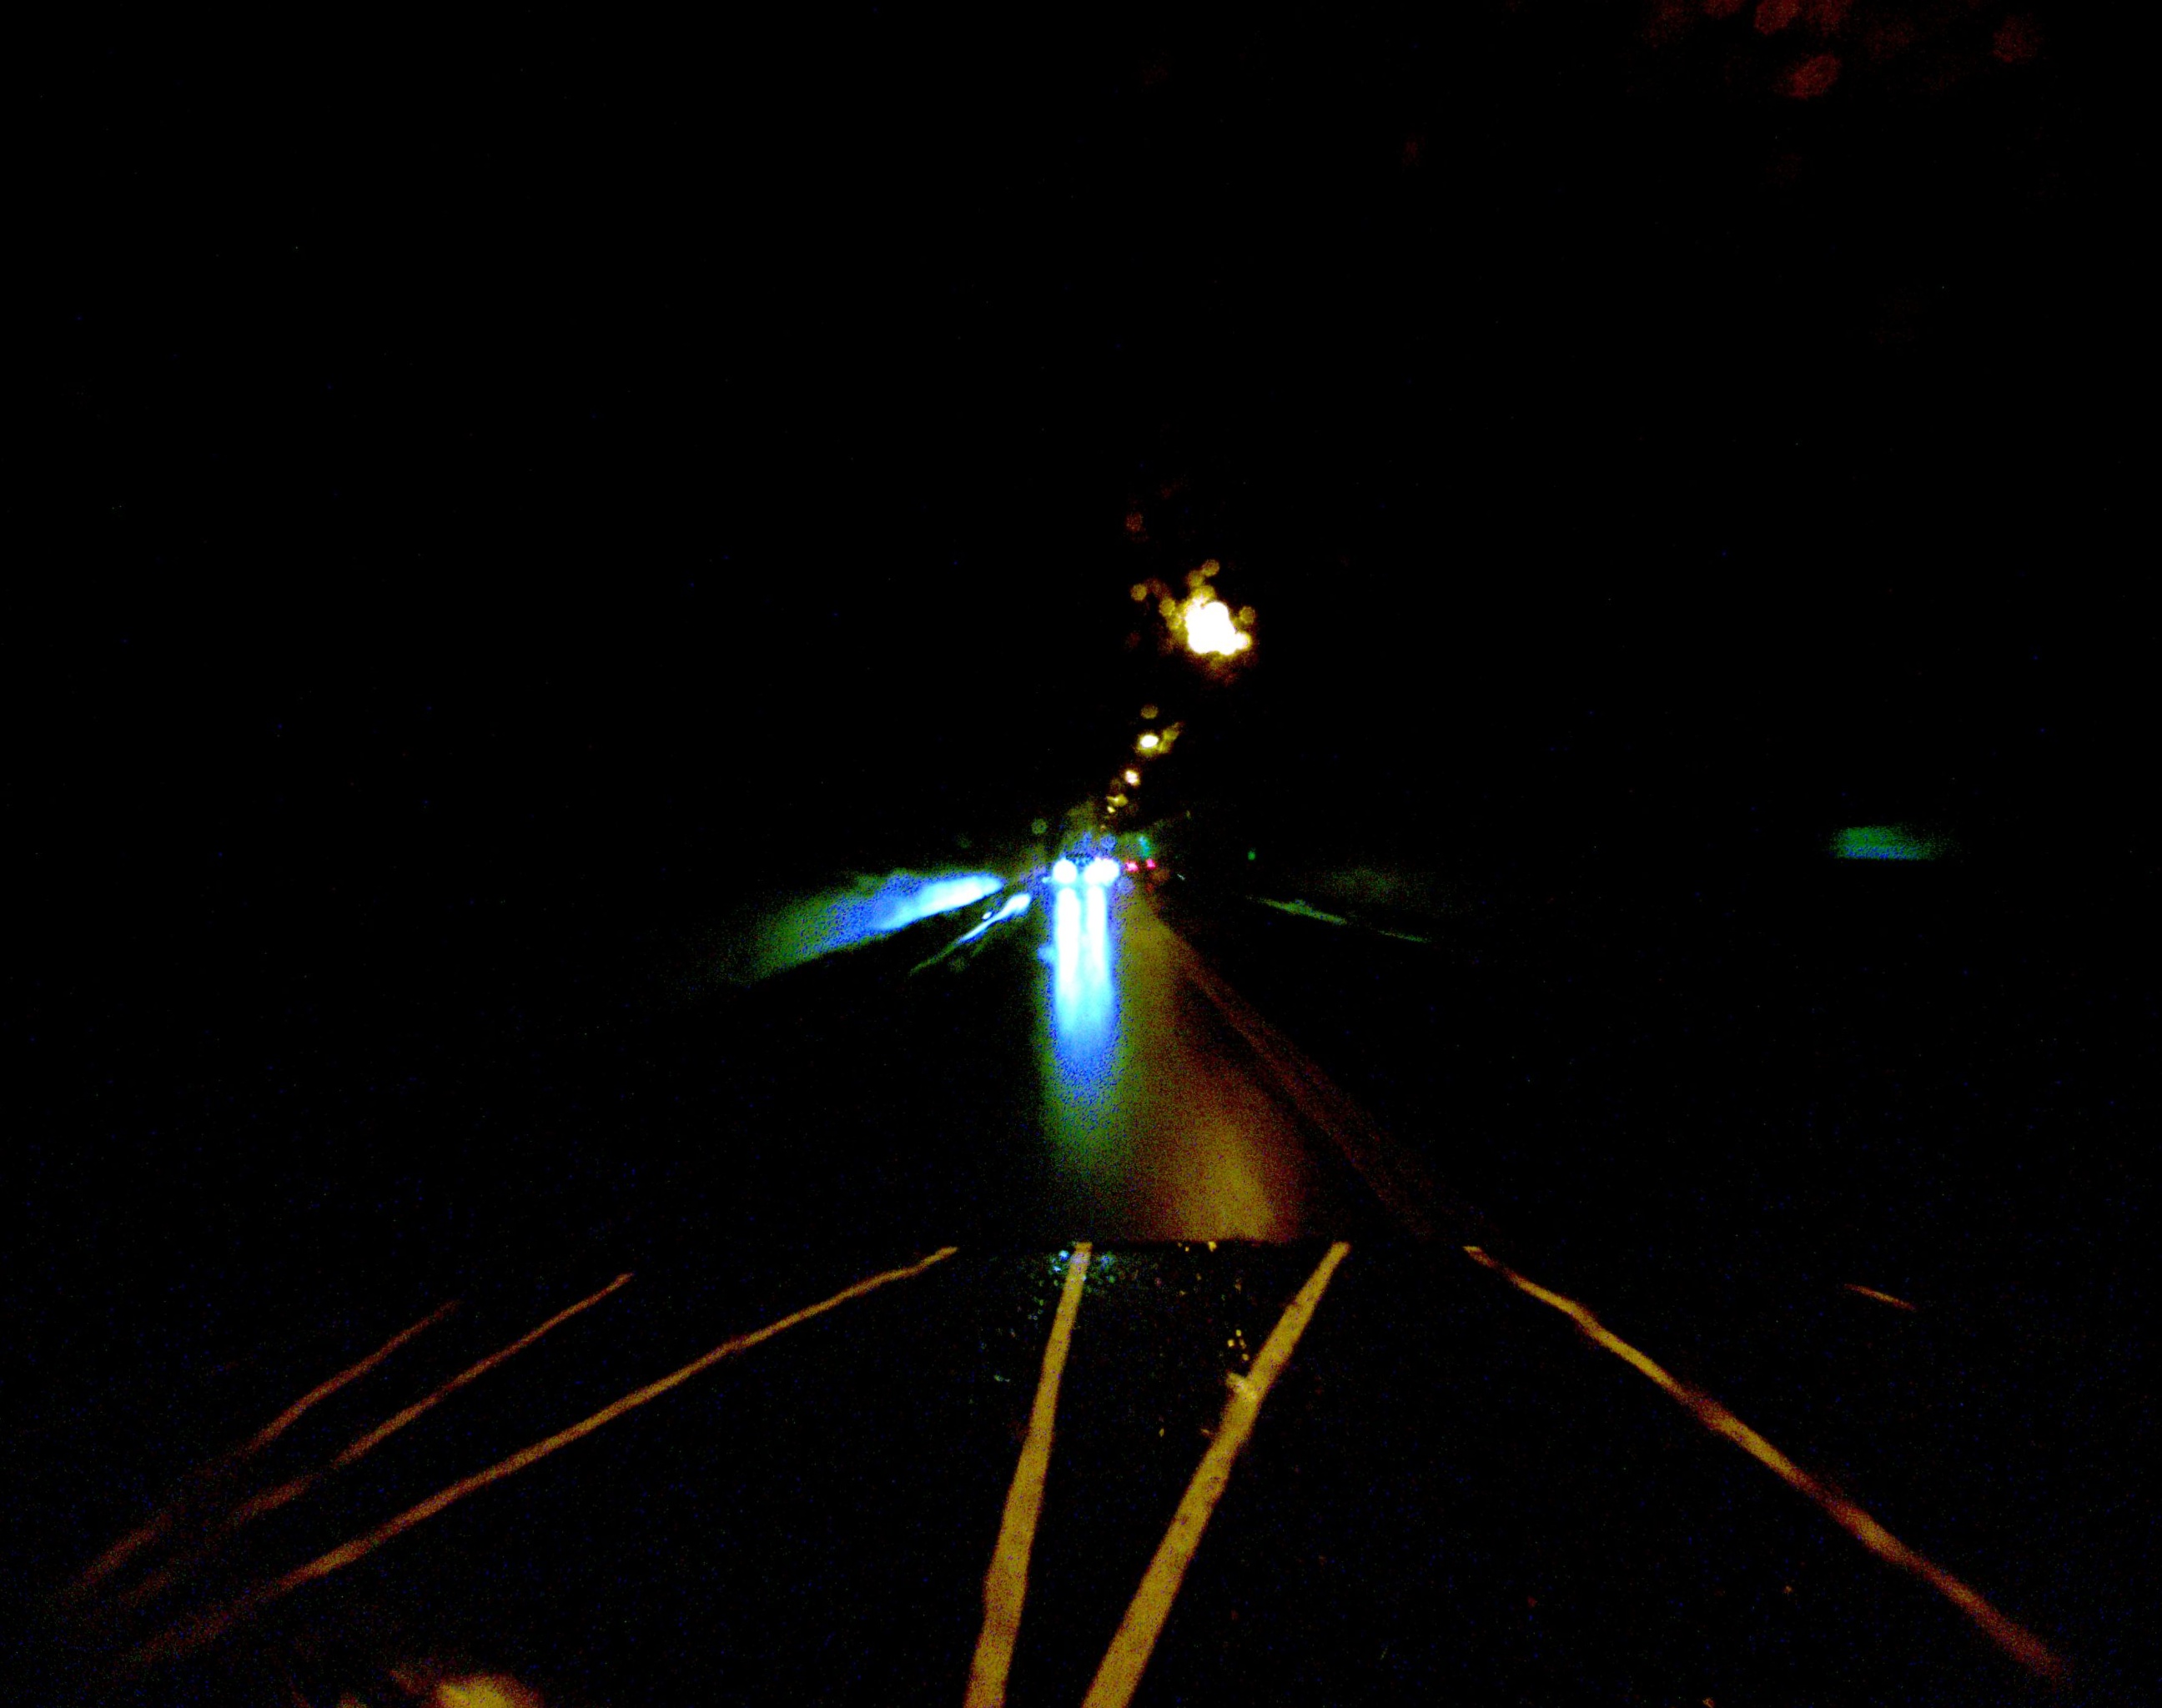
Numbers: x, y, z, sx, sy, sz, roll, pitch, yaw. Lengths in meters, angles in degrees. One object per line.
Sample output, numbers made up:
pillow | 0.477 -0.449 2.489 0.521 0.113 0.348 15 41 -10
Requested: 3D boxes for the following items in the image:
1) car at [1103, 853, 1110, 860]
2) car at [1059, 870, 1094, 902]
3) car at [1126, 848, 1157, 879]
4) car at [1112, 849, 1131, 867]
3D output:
car | 5.353 0.568 160.474 1.524 1.540 4.055 0 -1 1
car | -0.177 1.577 38.283 1.627 1.487 3.585 0 0 1
car | 3.874 0.607 49.430 1.765 1.888 4.609 0 0 1
car | 4.331 0.462 81.858 1.845 1.888 4.609 0 0 1
